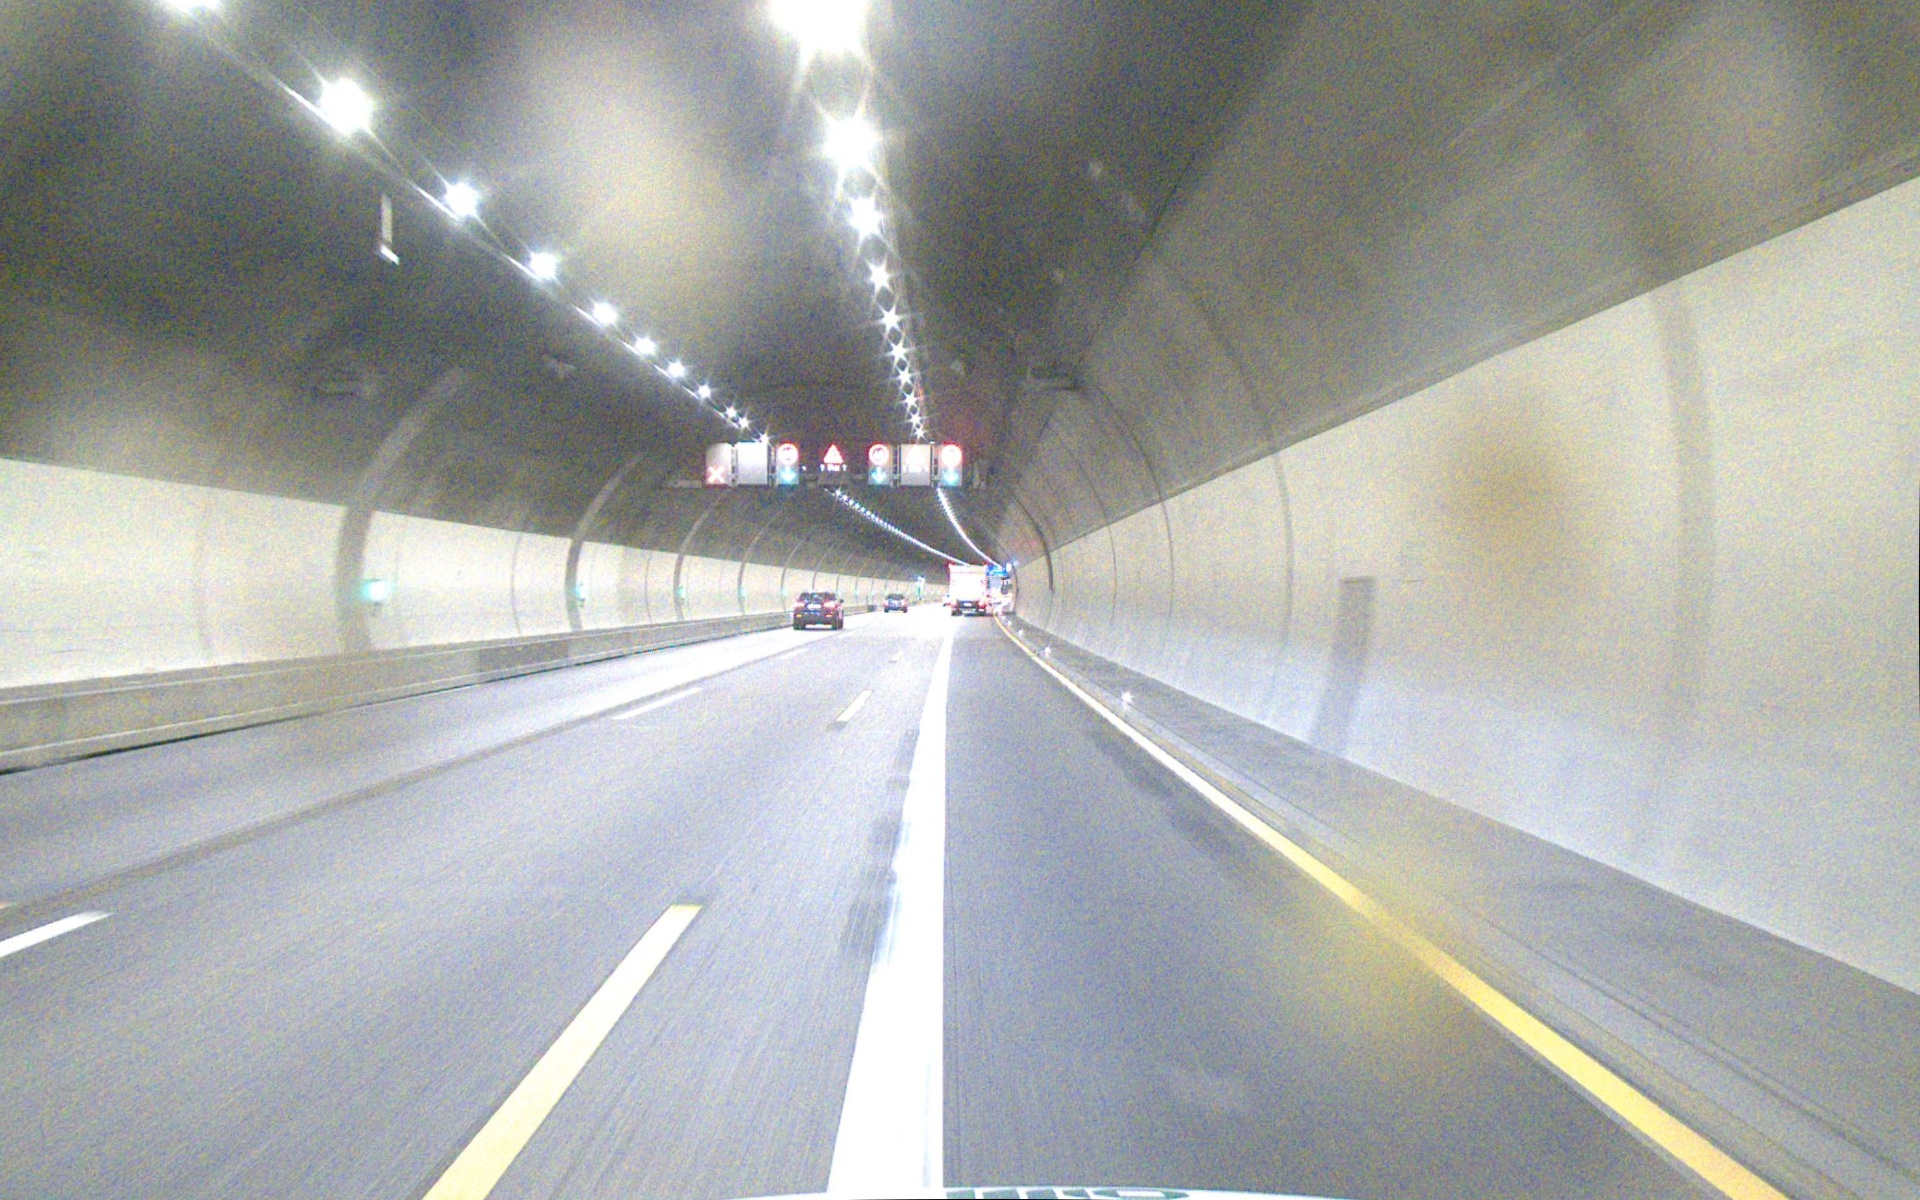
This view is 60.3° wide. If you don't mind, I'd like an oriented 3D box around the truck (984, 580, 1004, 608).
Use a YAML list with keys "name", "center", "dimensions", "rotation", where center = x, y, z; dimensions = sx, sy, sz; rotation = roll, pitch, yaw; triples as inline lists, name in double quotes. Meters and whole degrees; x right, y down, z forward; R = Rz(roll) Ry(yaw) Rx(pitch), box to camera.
- name: "truck"
  center: [5.137, -0.871, 247.592]
  dimensions: [2.862, 4.118, 14.031]
  rotation: [-1, 0, 1]

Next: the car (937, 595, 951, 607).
- name: "car"
  center: [-1.808, 0.092, 187.714]
  dimensions: [1.617, 1.297, 4.000]
  rotation: [1, 2, -1]

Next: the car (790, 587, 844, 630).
- name: "car"
  center: [-5.762, 0.321, 67.069]
  dimensions: [1.775, 1.646, 4.000]
  rotation: [1, 0, 0]

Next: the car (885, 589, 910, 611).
- name: "car"
  center: [-4.726, -0.031, 125.164]
  dimensions: [1.776, 1.546, 4.000]
  rotation: [1, 2, -1]

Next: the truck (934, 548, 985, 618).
- name: "truck"
  center: [-0.159, -1.141, 121.584]
  dimensions: [3.212, 4.731, 17.280]
  rotation: [-1, 0, -2]
